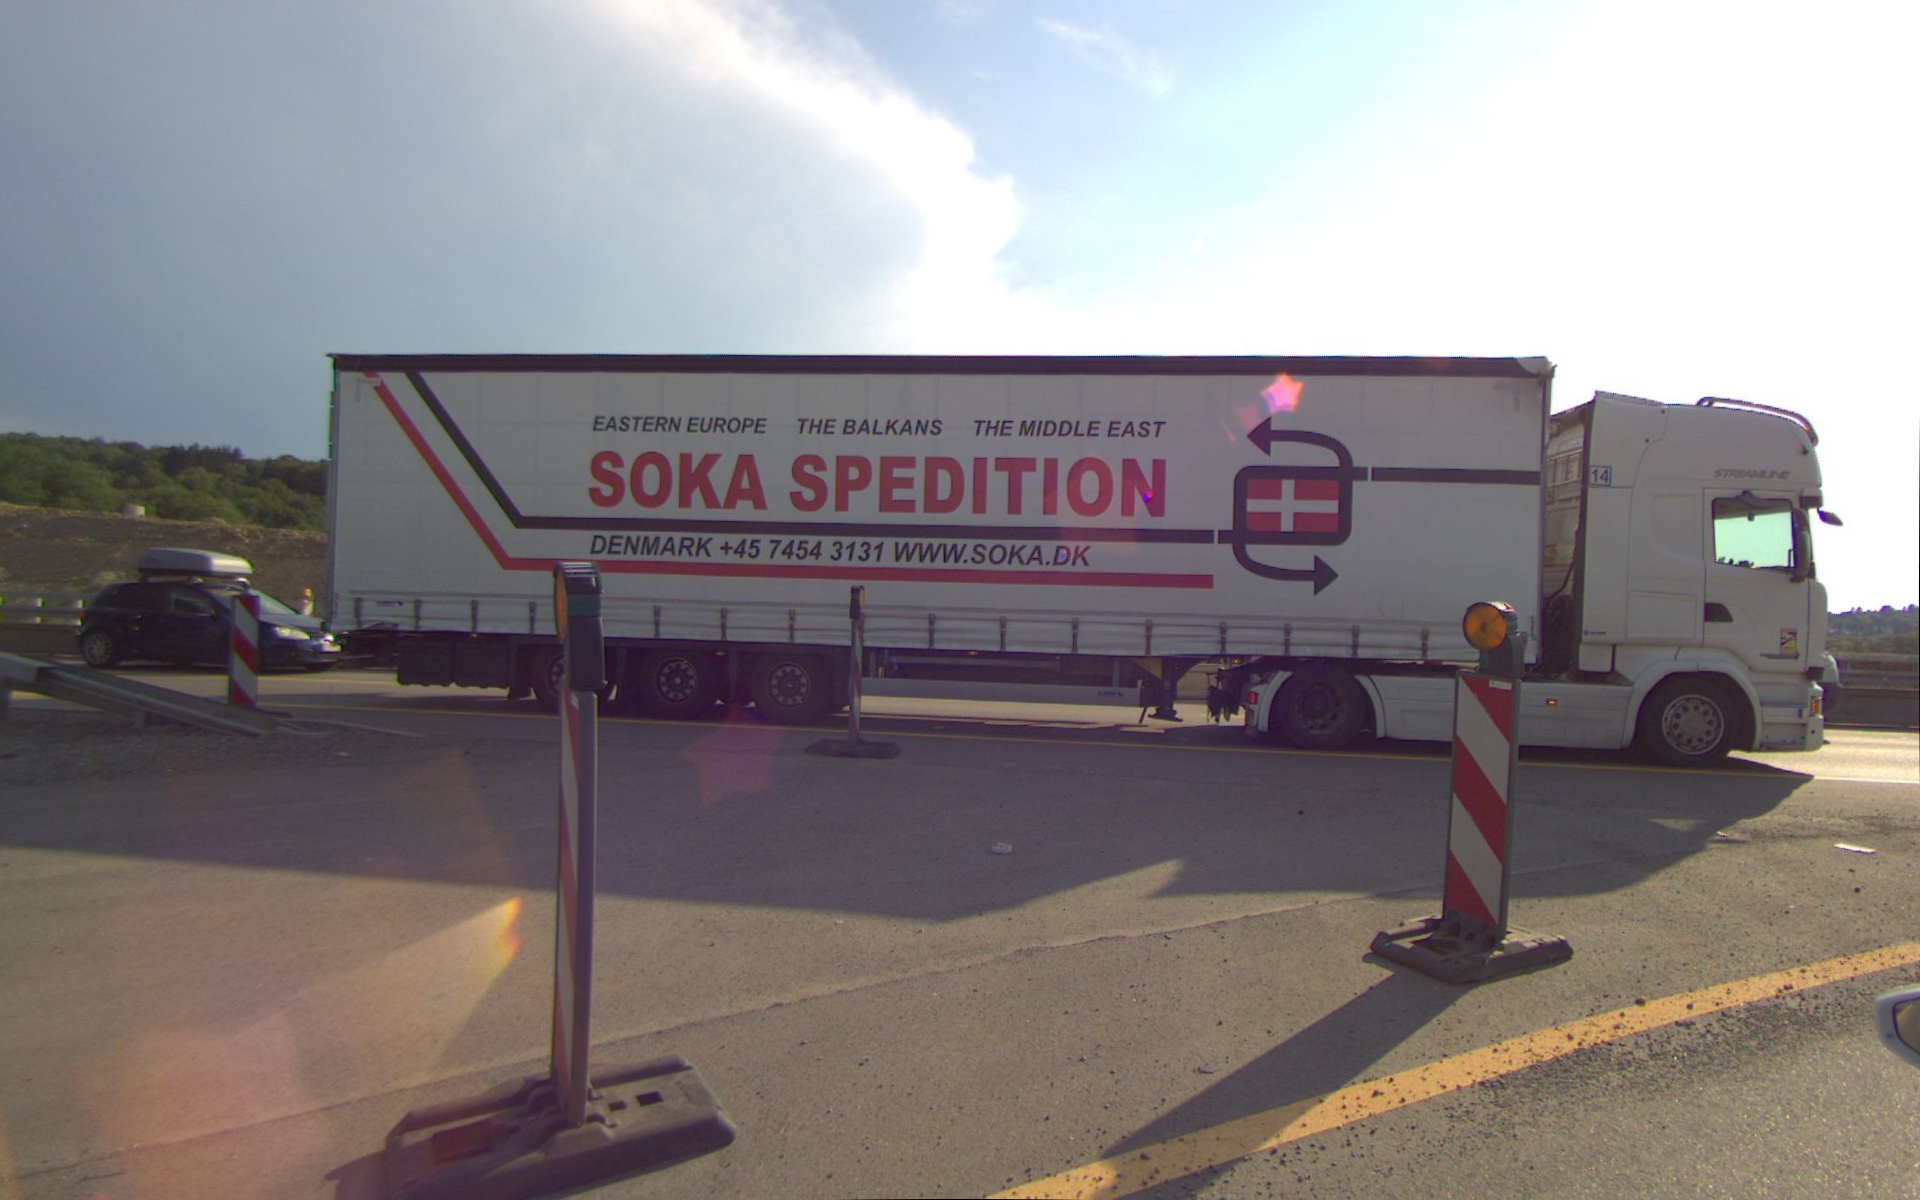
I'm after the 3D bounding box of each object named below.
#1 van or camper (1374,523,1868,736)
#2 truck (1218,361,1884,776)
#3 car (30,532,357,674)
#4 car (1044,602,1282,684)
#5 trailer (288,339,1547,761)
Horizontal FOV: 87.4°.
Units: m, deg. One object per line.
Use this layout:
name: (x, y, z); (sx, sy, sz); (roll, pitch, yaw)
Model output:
van or camper: (9.468, 0.403, 14.840); (5.785, 2.654, 2.001); (3, -1, 5)
truck: (6.198, -0.344, 11.361); (5.890, 3.929, 2.490); (3, -1, 5)
car: (-12.567, 0.074, 16.609); (4.244, 2.040, 1.528); (3, -3, 5)
car: (4.342, 0.900, 22.081); (4.878, 1.520, 2.036); (2, 0, 6)
trailer: (-0.692, -0.632, 11.939); (13.356, 3.929, 2.490); (3, -1, 5)
